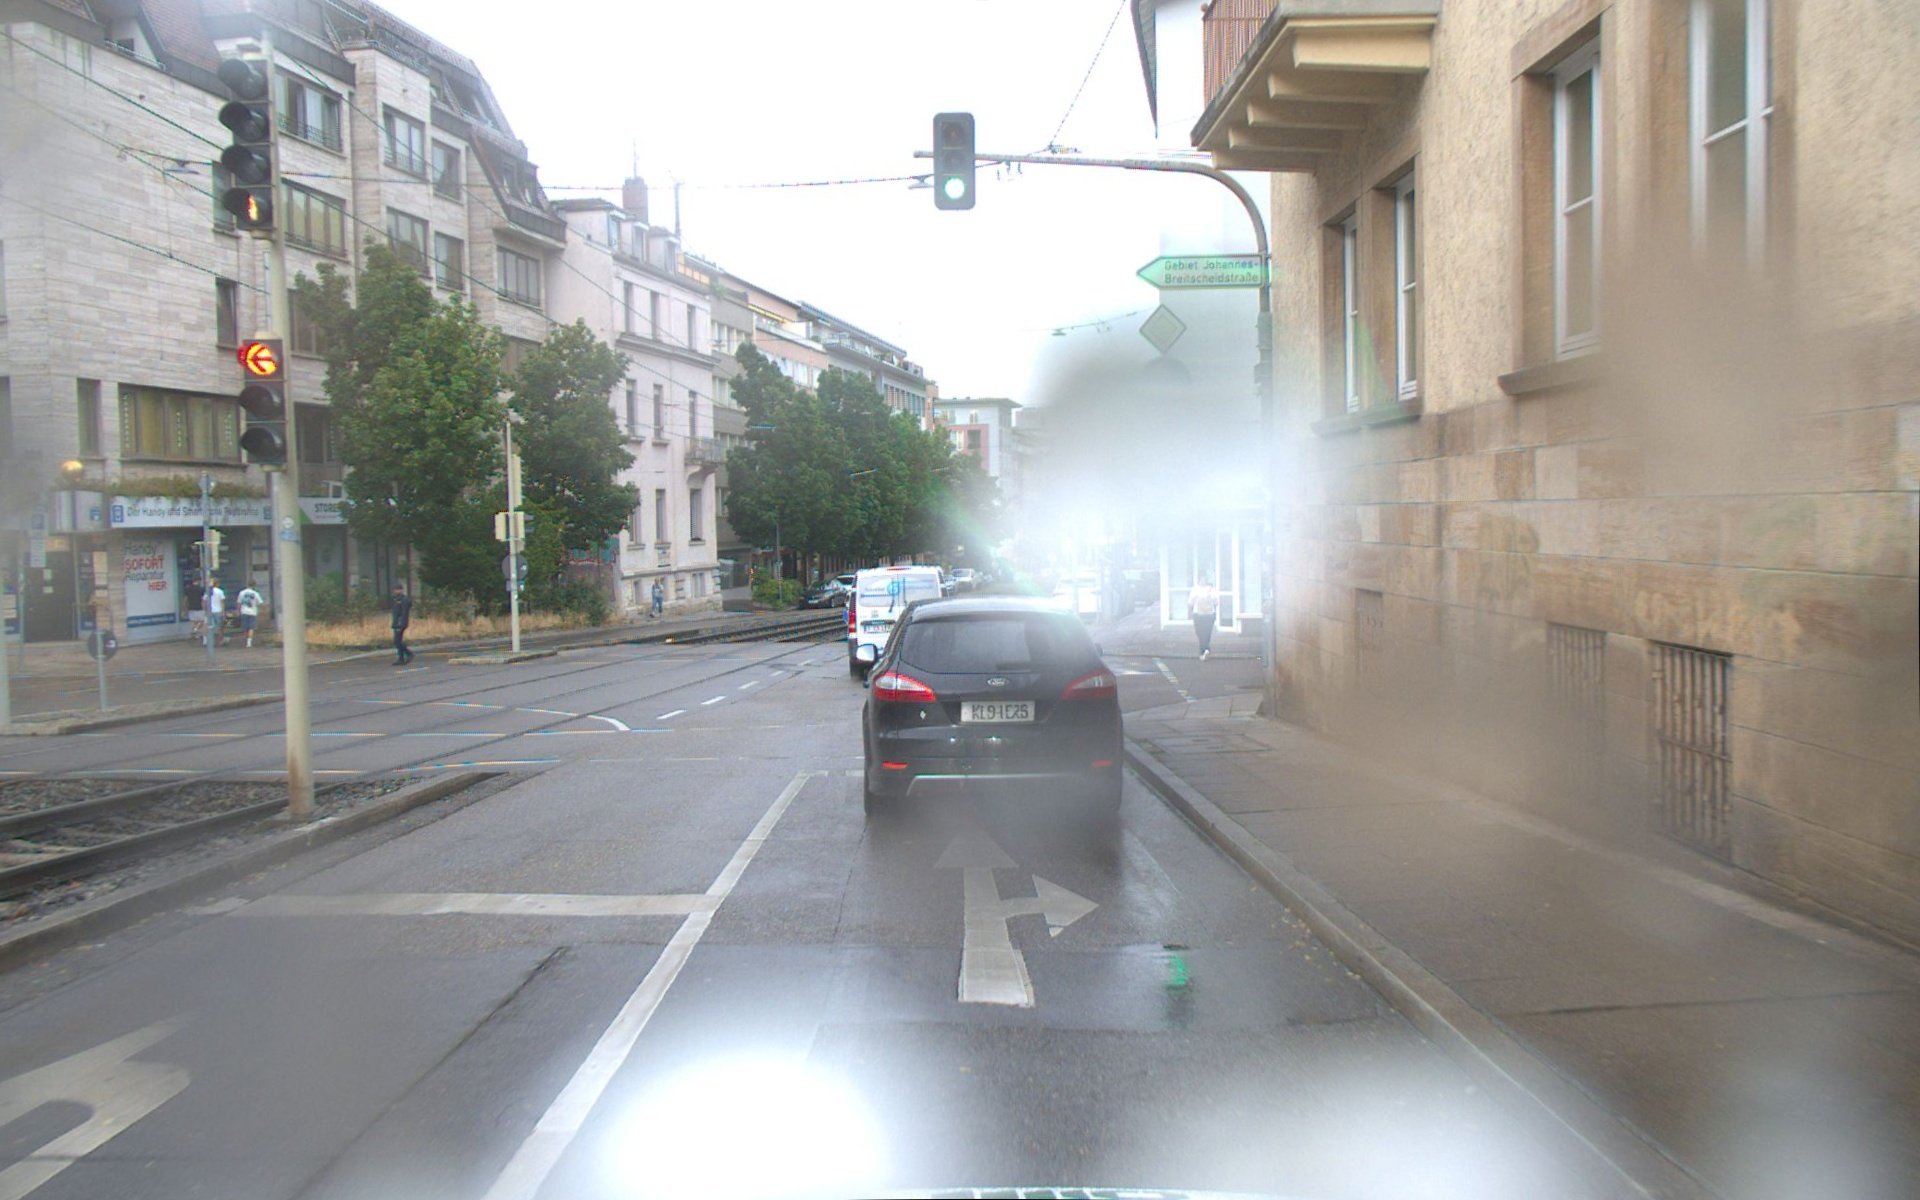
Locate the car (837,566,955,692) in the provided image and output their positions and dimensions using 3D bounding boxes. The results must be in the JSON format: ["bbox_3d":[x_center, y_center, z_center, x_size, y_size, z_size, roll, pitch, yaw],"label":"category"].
[{"bbox_3d":[-1.126,0.498,30.041,1.948,2.096,4.643,1,0,-1],"label":"car"}]

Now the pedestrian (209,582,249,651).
[{"bbox_3d":[-18.886,0.421,42.739,0.634,1.754,0.684,1,-1,8],"label":"pedestrian"}]

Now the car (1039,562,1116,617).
[{"bbox_3d":[3.525,-0.289,49.028,1.763,1.481,4.590,-2,0,10],"label":"car"}]

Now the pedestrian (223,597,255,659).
[{"bbox_3d":[-19.007,0.735,43.625,0.493,1.625,0.586,1,-1,8],"label":"pedestrian"}]

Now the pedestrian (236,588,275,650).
[{"bbox_3d":[-18.170,0.496,42.683,0.634,1.576,0.684,1,-1,8],"label":"pedestrian"}]

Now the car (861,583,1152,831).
[{"bbox_3d":[0.276,0.683,12.371,1.805,1.533,3.999,1,0,-1],"label":"car"}]

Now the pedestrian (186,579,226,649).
[{"bbox_3d":[-19.515,0.366,42.795,0.634,1.780,0.684,1,-1,8],"label":"pedestrian"}]

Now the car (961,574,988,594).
[{"bbox_3d":[1.230,-1.353,138.644,1.658,1.601,4.049,0,0,10],"label":"car"}]

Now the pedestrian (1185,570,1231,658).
[{"bbox_3d":[4.602,0.257,30.675,0.674,1.599,0.763,-2,-1,-2],"label":"pedestrian"}]

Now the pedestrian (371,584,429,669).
[{"bbox_3d":[-12.533,0.590,37.041,0.911,1.862,0.960,1,-1,2],"label":"pedestrian"}]

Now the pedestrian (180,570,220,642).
[{"bbox_3d":[-20.096,0.159,43.729,0.634,1.875,0.684,1,-1,8],"label":"pedestrian"}]

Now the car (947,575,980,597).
[{"bbox_3d":[0.273,-1.105,131.927,1.816,1.665,4.939,0,0,10],"label":"car"}]

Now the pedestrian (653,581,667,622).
[{"bbox_3d":[-12.218,0.059,67.434,0.458,1.681,0.582,1,-1,-2],"label":"pedestrian"}]

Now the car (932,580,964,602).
[{"bbox_3d":[-0.877,-0.633,122.689,1.632,1.585,4.049,0,0,10],"label":"car"}]

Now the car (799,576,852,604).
[{"bbox_3d":[-7.005,-0.493,86.538,1.657,1.402,4.724,0,-1,10],"label":"car"}]

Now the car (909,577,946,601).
[{"bbox_3d":[-2.266,-0.753,115.537,1.816,1.553,4.049,0,0,10],"label":"car"}]

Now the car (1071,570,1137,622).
[{"bbox_3d":[4.888,-0.127,55.643,1.806,1.661,4.590,-1,0,10],"label":"car"}]

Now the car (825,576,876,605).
[{"bbox_3d":[-6.111,-0.503,92.771,1.816,1.576,4.725,0,0,10],"label":"car"}]
